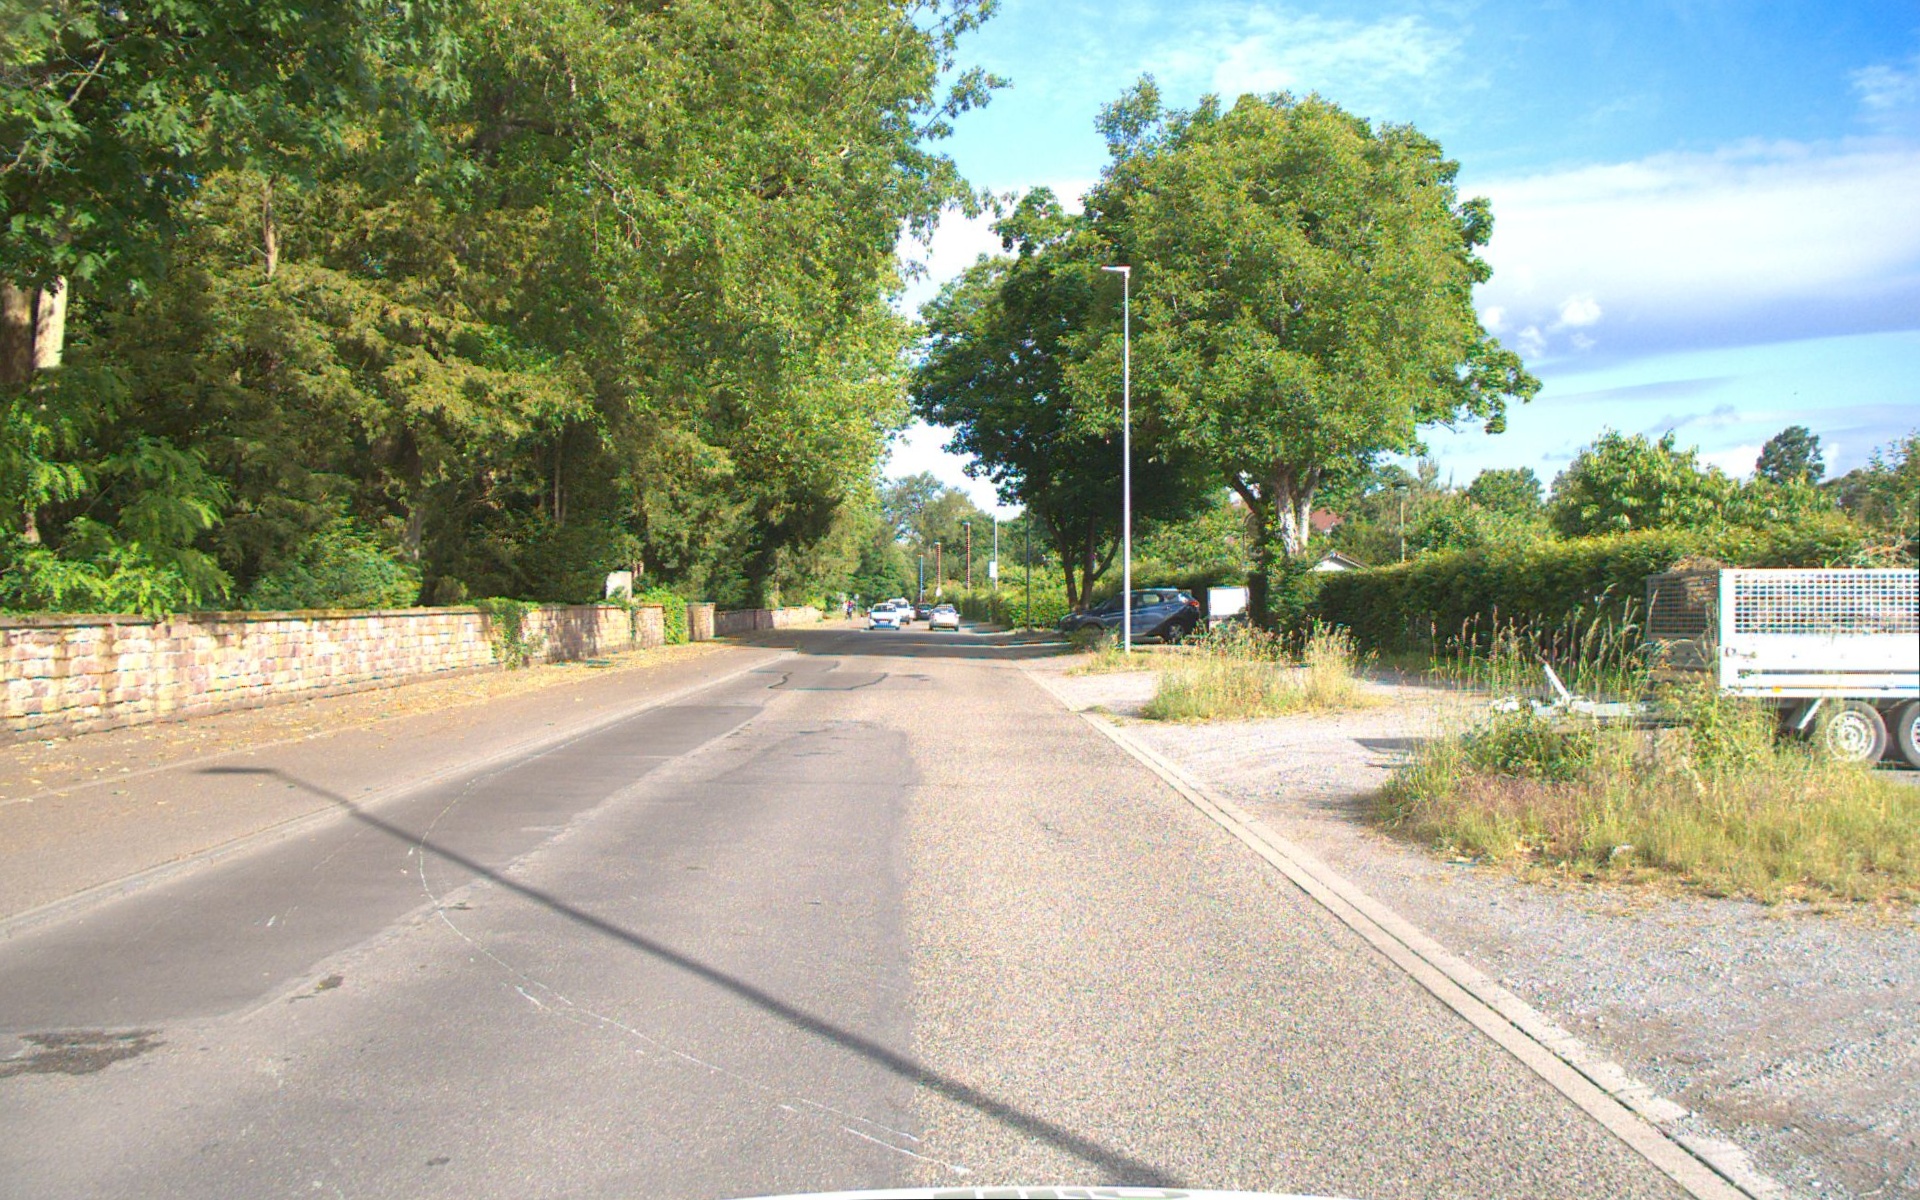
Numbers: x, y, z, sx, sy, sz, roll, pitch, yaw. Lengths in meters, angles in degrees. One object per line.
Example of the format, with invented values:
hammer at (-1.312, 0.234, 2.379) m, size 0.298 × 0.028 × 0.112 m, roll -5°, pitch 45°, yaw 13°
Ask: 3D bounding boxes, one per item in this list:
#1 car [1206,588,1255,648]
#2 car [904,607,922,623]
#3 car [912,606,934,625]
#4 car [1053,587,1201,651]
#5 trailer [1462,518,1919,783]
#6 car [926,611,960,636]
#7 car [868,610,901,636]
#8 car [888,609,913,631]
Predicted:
car at (8.107, 0.502, 49.594) m, size 1.322 × 1.661 × 4.115 m, roll -3°, pitch 0°, yaw 9°
car at (-5.019, 1.558, 175.174) m, size 1.848 × 1.641 × 4.053 m, roll -1°, pitch 0°, yaw -2°
car at (-3.313, 1.348, 147.872) m, size 1.848 × 1.641 × 4.053 m, roll -1°, pitch 0°, yaw -2°
car at (5.151, 0.585, 51.418) m, size 4.314 × 1.675 × 2.000 m, roll -3°, pitch 0°, yaw 0°
trailer at (6.300, 0.359, 13.103) m, size 4.065 × 1.867 × 1.917 m, roll -2°, pitch 0°, yaw 3°
car at (-0.980, 1.323, 94.576) m, size 1.848 × 1.396 × 4.053 m, roll -1°, pitch 0°, yaw -2°
car at (-4.351, 1.310, 94.532) m, size 1.849 × 1.396 × 4.052 m, roll -1°, pitch 0°, yaw -3°
car at (-4.429, 1.446, 123.506) m, size 1.848 × 1.592 × 4.053 m, roll -1°, pitch 0°, yaw -2°
